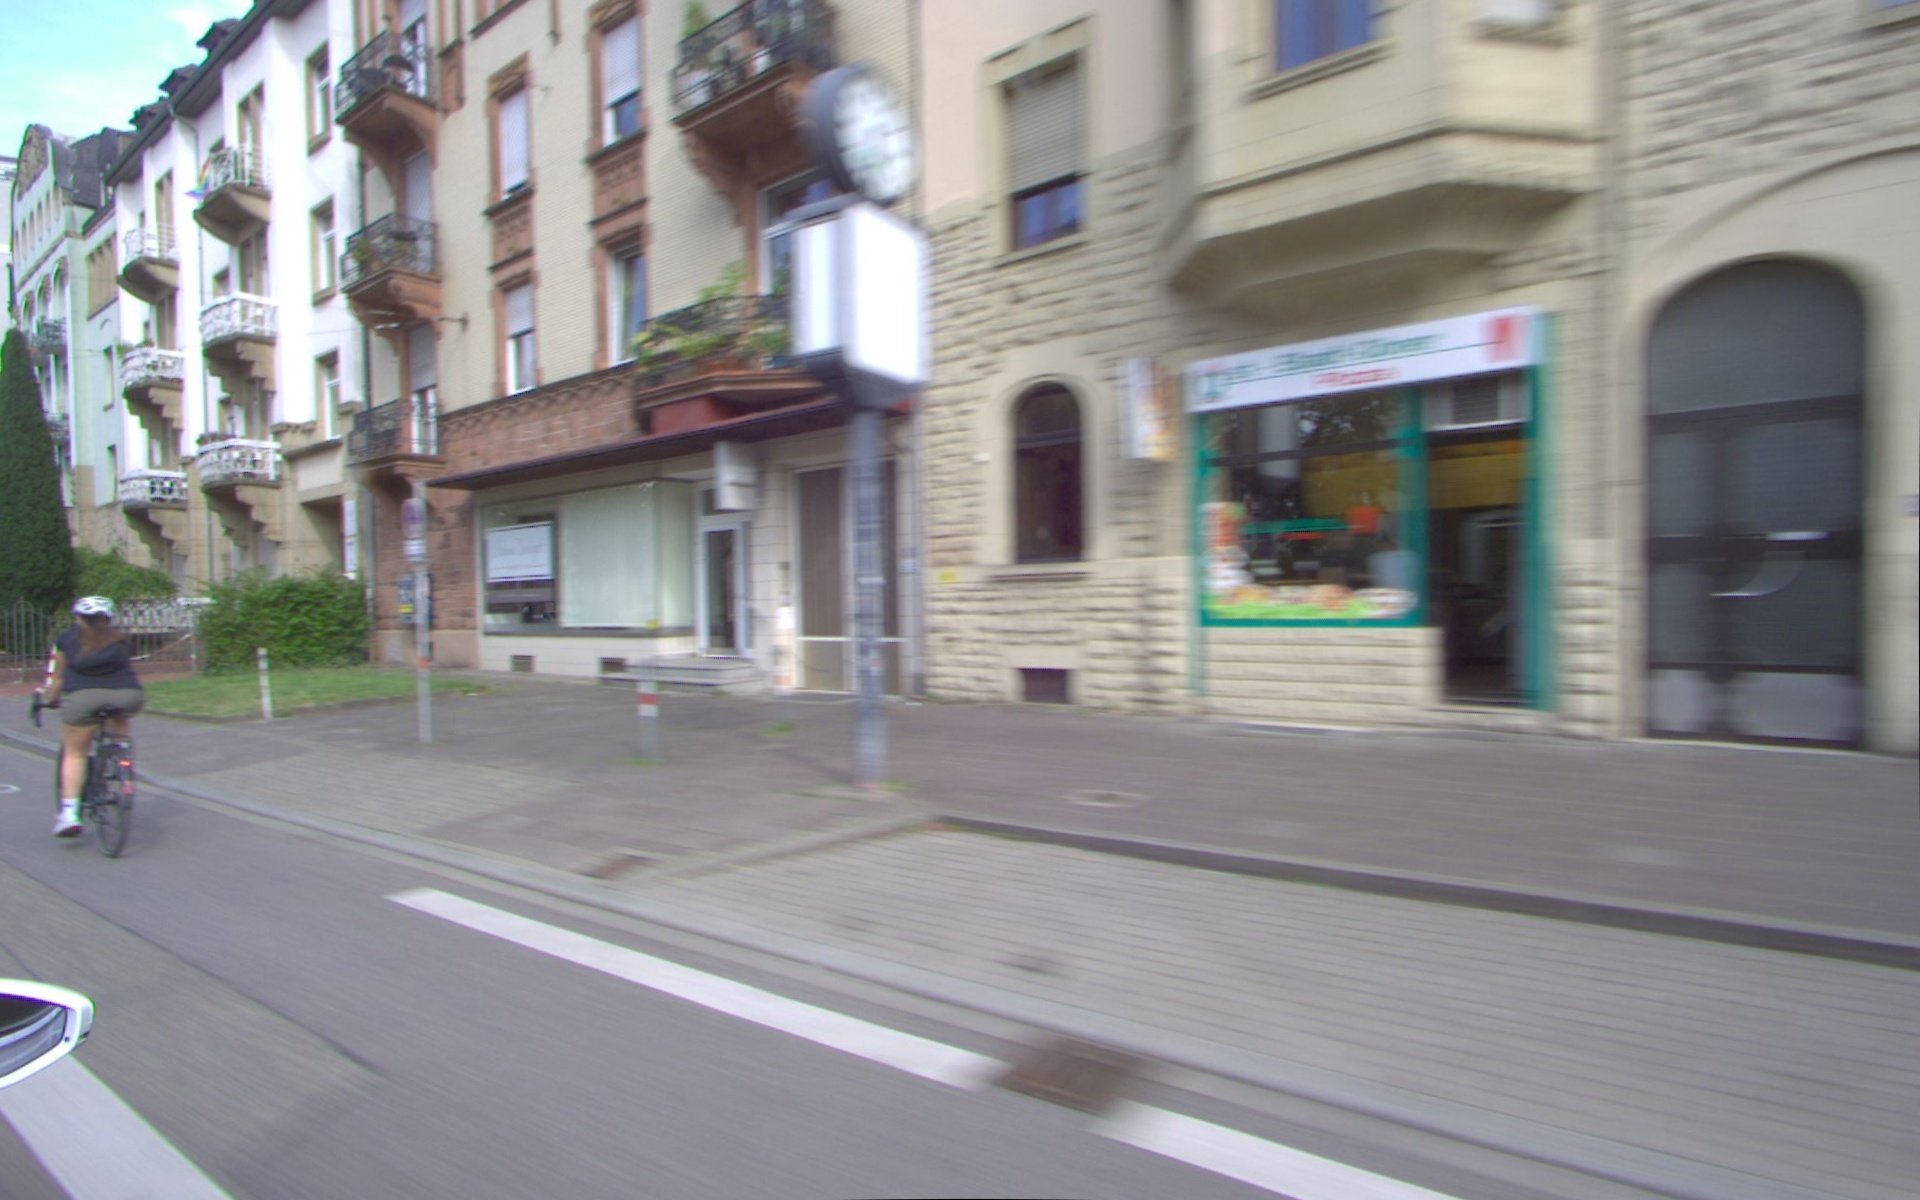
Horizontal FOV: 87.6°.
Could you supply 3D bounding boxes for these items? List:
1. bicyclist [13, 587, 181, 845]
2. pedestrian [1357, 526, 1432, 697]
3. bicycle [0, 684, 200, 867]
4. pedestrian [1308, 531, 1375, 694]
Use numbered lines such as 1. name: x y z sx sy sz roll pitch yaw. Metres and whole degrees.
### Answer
1. bicyclist: -5.847 0.731 6.778 1.096 1.590 0.636 -1 0 36
2. pedestrian: 4.238 0.114 9.764 0.554 1.602 0.547 0 1 38
3. bicycle: -5.946 1.120 6.849 2.044 0.993 0.636 -1 -1 36
4. pedestrian: 3.902 0.124 10.225 0.501 1.602 0.557 0 1 37
